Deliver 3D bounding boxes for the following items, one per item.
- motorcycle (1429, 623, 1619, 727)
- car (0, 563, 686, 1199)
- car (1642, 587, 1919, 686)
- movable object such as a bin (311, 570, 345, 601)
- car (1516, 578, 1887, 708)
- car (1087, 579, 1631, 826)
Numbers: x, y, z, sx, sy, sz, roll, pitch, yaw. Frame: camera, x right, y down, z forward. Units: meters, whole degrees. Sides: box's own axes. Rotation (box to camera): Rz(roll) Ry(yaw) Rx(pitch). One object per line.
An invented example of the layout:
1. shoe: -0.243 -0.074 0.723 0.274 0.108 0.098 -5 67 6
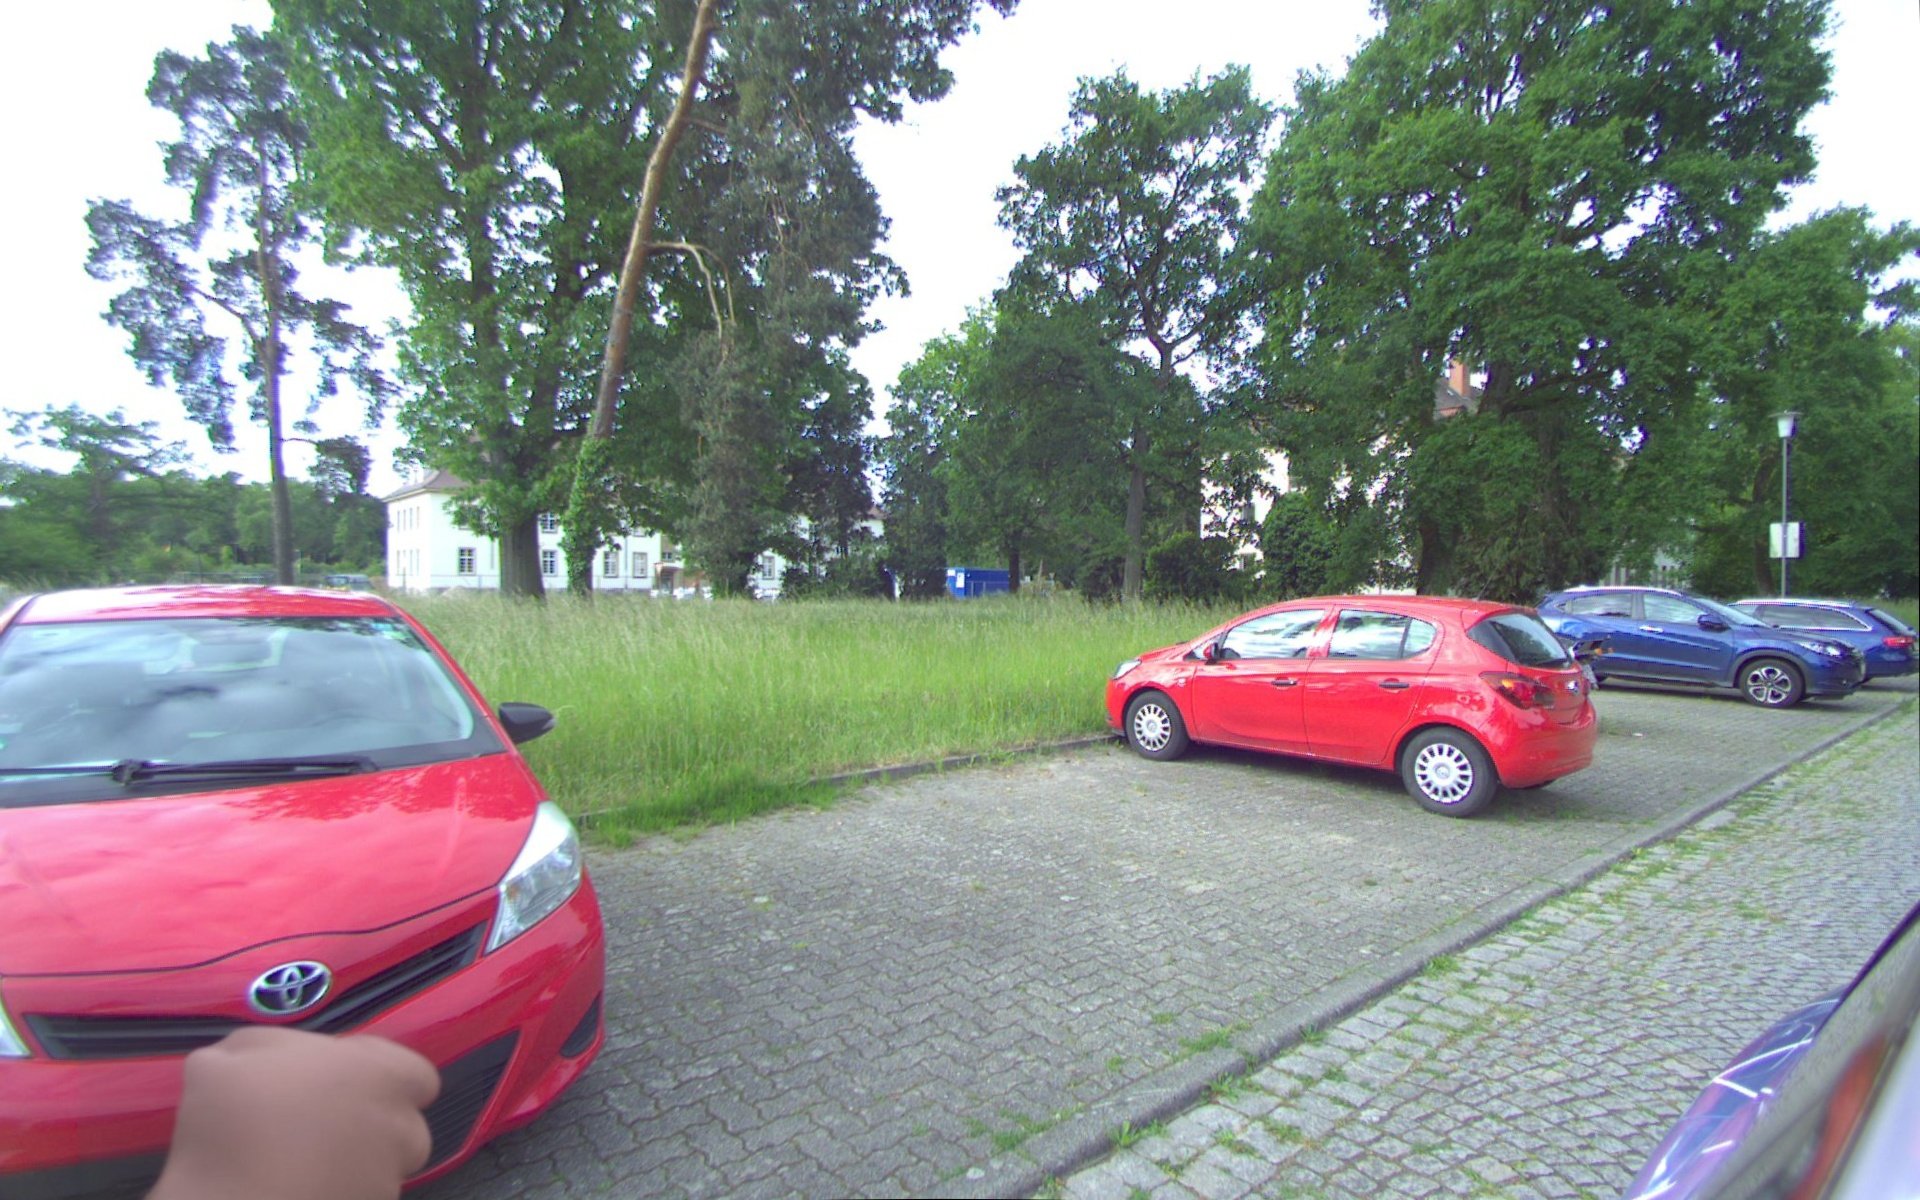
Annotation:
1. motorcycle: 6.257 0.796 11.286 1.740 0.969 0.605 3 2 44
2. car: -2.657 0.651 3.600 1.734 1.504 4.015 0 2 -40
3. car: 14.373 0.551 17.619 1.555 1.443 3.874 0 2 -41
4. movable object such as a bin: -42.160 -0.977 67.558 1.647 2.039 3.248 0 1 -28
5. car: 10.704 0.504 14.869 1.555 1.557 4.147 0 2 -41
6. car: 3.036 0.608 8.354 1.555 1.478 3.891 0 2 -41
